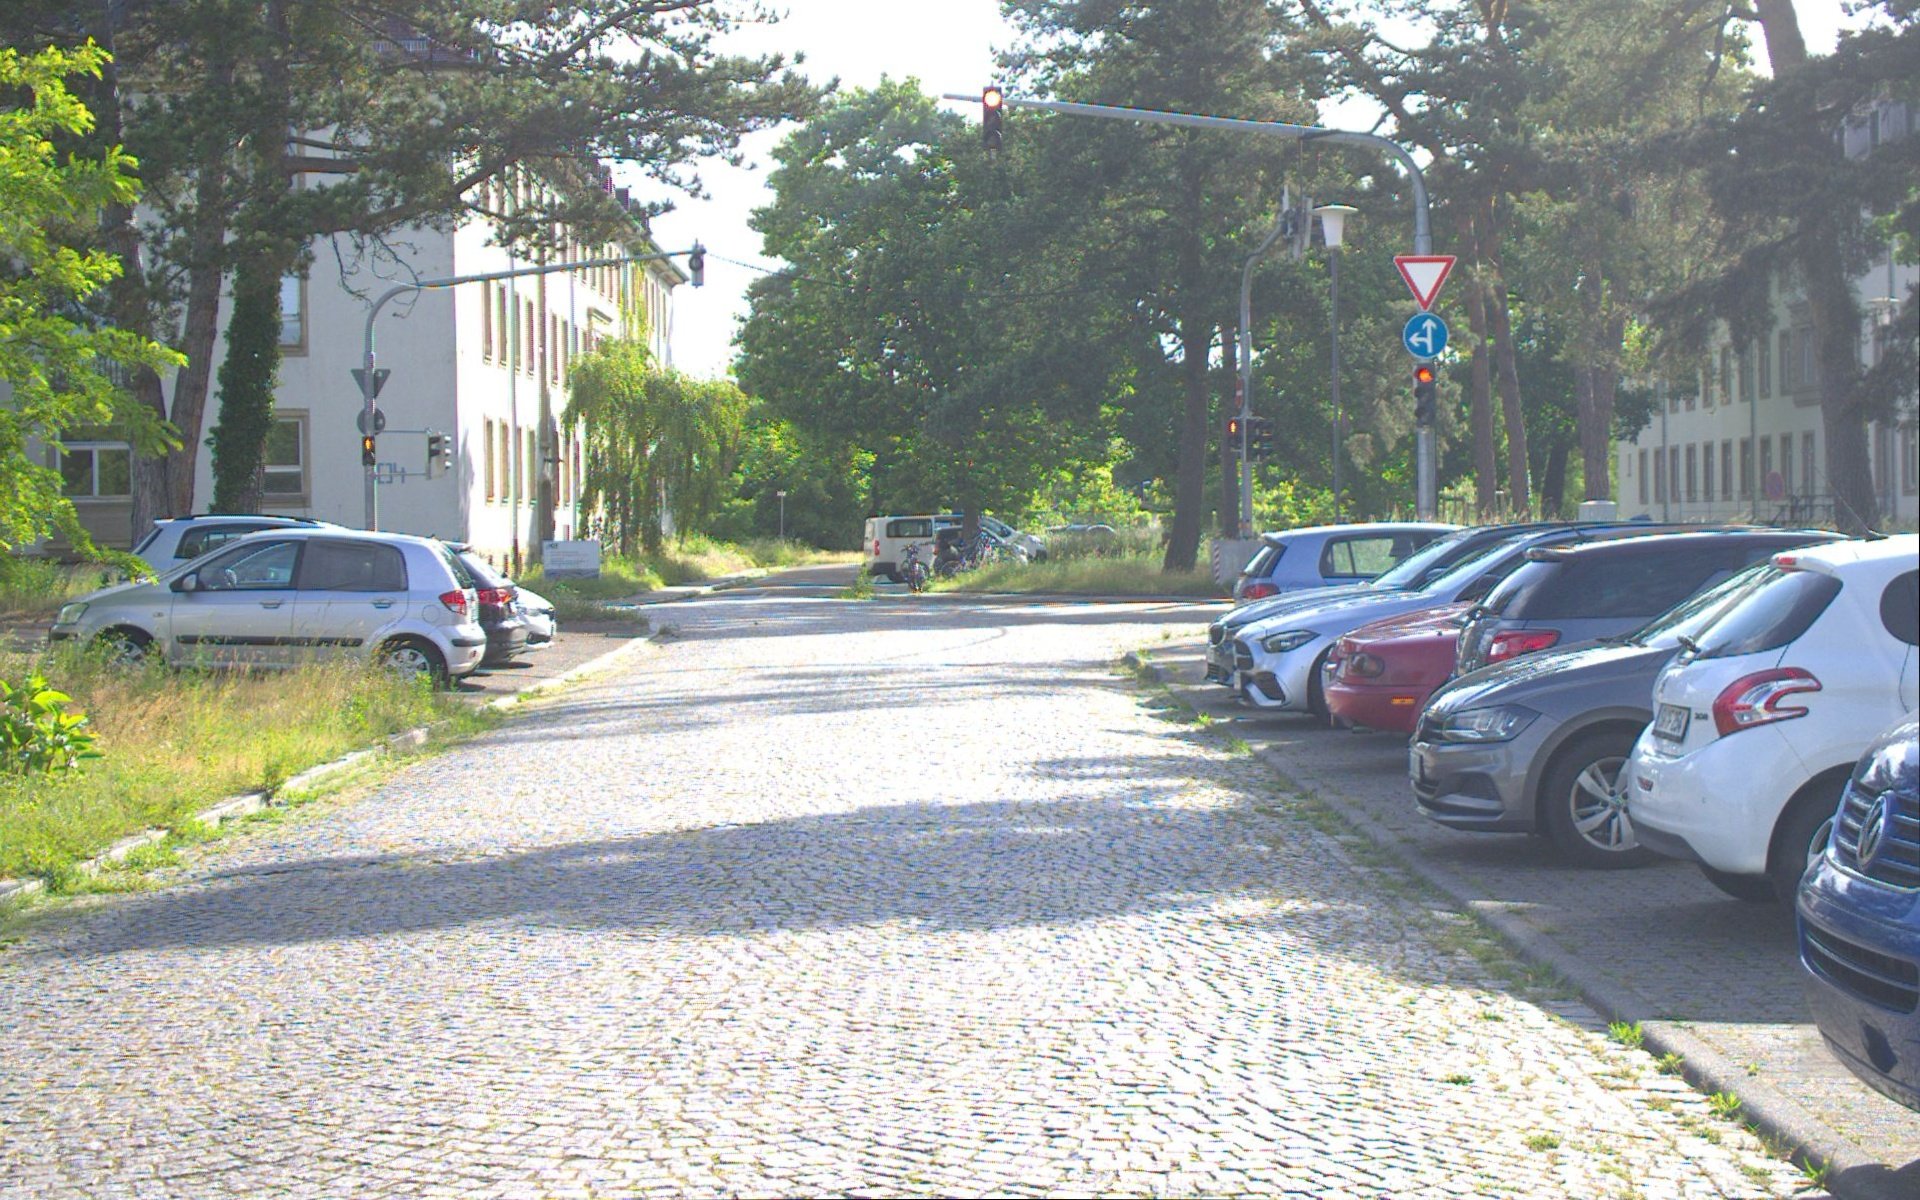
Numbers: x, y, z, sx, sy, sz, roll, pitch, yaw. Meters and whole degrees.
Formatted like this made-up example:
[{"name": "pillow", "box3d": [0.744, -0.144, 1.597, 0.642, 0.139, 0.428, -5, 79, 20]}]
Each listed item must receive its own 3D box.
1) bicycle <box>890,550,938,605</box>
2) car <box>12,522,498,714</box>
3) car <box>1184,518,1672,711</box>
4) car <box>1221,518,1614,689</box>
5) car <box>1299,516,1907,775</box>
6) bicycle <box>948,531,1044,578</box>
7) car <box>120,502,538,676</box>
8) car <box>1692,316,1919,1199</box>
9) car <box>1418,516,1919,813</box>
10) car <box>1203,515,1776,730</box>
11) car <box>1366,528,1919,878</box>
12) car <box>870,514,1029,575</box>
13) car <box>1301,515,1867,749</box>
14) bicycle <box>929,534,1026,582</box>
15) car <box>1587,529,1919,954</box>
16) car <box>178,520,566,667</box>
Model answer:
[{"name": "bicycle", "box3d": [-1.042, -0.523, 77.093, 0.804, 1.165, 2.181, -2, 2, -6]}, {"name": "car", "box3d": [-6.227, 0.131, 30.767, 3.986, 1.595, 2.000, -1, 1, -3]}, {"name": "car", "box3d": [3.887, 0.101, 28.932, 3.835, 1.524, 1.646, -1, 1, -2]}, {"name": "car", "box3d": [4.156, 0.011, 31.572, 3.343, 1.477, 1.646, -1, 1, -2]}, {"name": "car", "box3d": [3.976, 0.254, 21.622, 3.478, 1.524, 1.646, -1, 1, -2]}, {"name": "bicycle", "box3d": [0.850, -1.090, 81.642, 2.172, 1.096, 0.807, 0, 1, -10]}, {"name": "car", "box3d": [-6.579, -0.138, 36.152, 3.987, 1.596, 2.000, 3, 1, -1]}, {"name": "car", "box3d": [4.283, 0.368, 7.925, 4.676, 2.007, 2.084, -1, 1, -3]}, {"name": "car", "box3d": [4.392, 0.317, 18.932, 3.478, 1.524, 1.646, -1, 1, -2]}, {"name": "car", "box3d": [3.974, 0.144, 26.161, 4.033, 1.524, 1.646, -1, 1, -4]}, {"name": "car", "box3d": [3.861, 0.424, 16.013, 3.675, 1.462, 1.646, -2, 1, -2]}, {"name": "car", "box3d": [-0.313, -1.583, 98.013, 4.480, 1.722, 2.000, 0, 1, -1]}, {"name": "car", "box3d": [4.290, 0.194, 23.980, 3.602, 1.524, 1.646, -1, 1, -2]}, {"name": "bicycle", "box3d": [0.414, -0.986, 80.550, 2.172, 1.096, 0.807, 0, 1, -10]}, {"name": "car", "box3d": [4.415, 0.440, 13.126, 3.694, 1.460, 1.645, -2, 1, 0]}, {"name": "car", "box3d": [-6.538, -0.095, 38.555, 3.987, 1.448, 2.000, 2, 1, -1]}]
